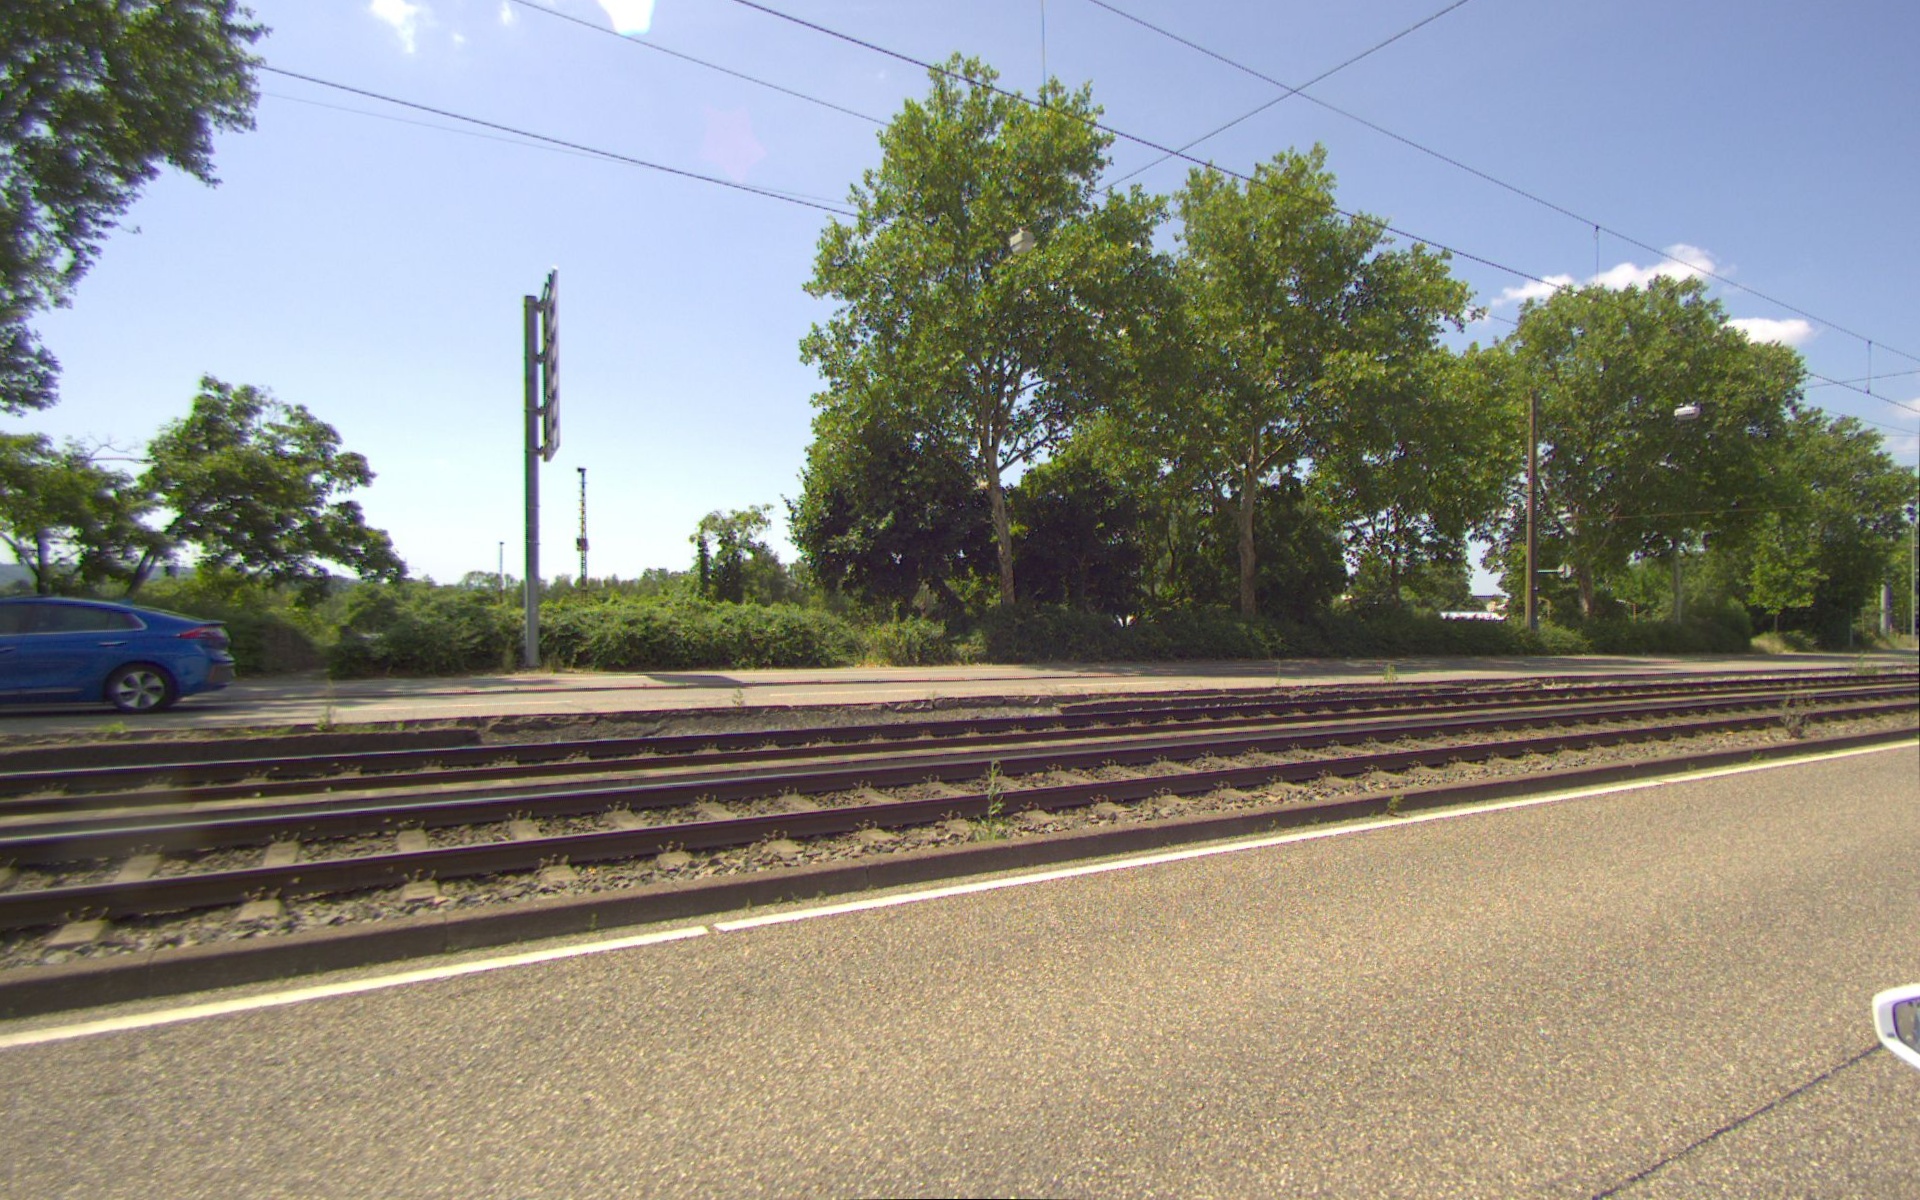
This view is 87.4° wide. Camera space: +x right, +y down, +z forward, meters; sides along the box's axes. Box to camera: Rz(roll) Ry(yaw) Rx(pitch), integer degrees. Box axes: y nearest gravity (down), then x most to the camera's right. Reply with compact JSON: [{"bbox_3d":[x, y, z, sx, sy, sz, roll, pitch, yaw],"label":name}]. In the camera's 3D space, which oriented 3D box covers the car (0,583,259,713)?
[{"bbox_3d":[-11.666,0.590,12.518,4.684,1.523,1.789,1,-2,-33],"label":"car"}]
